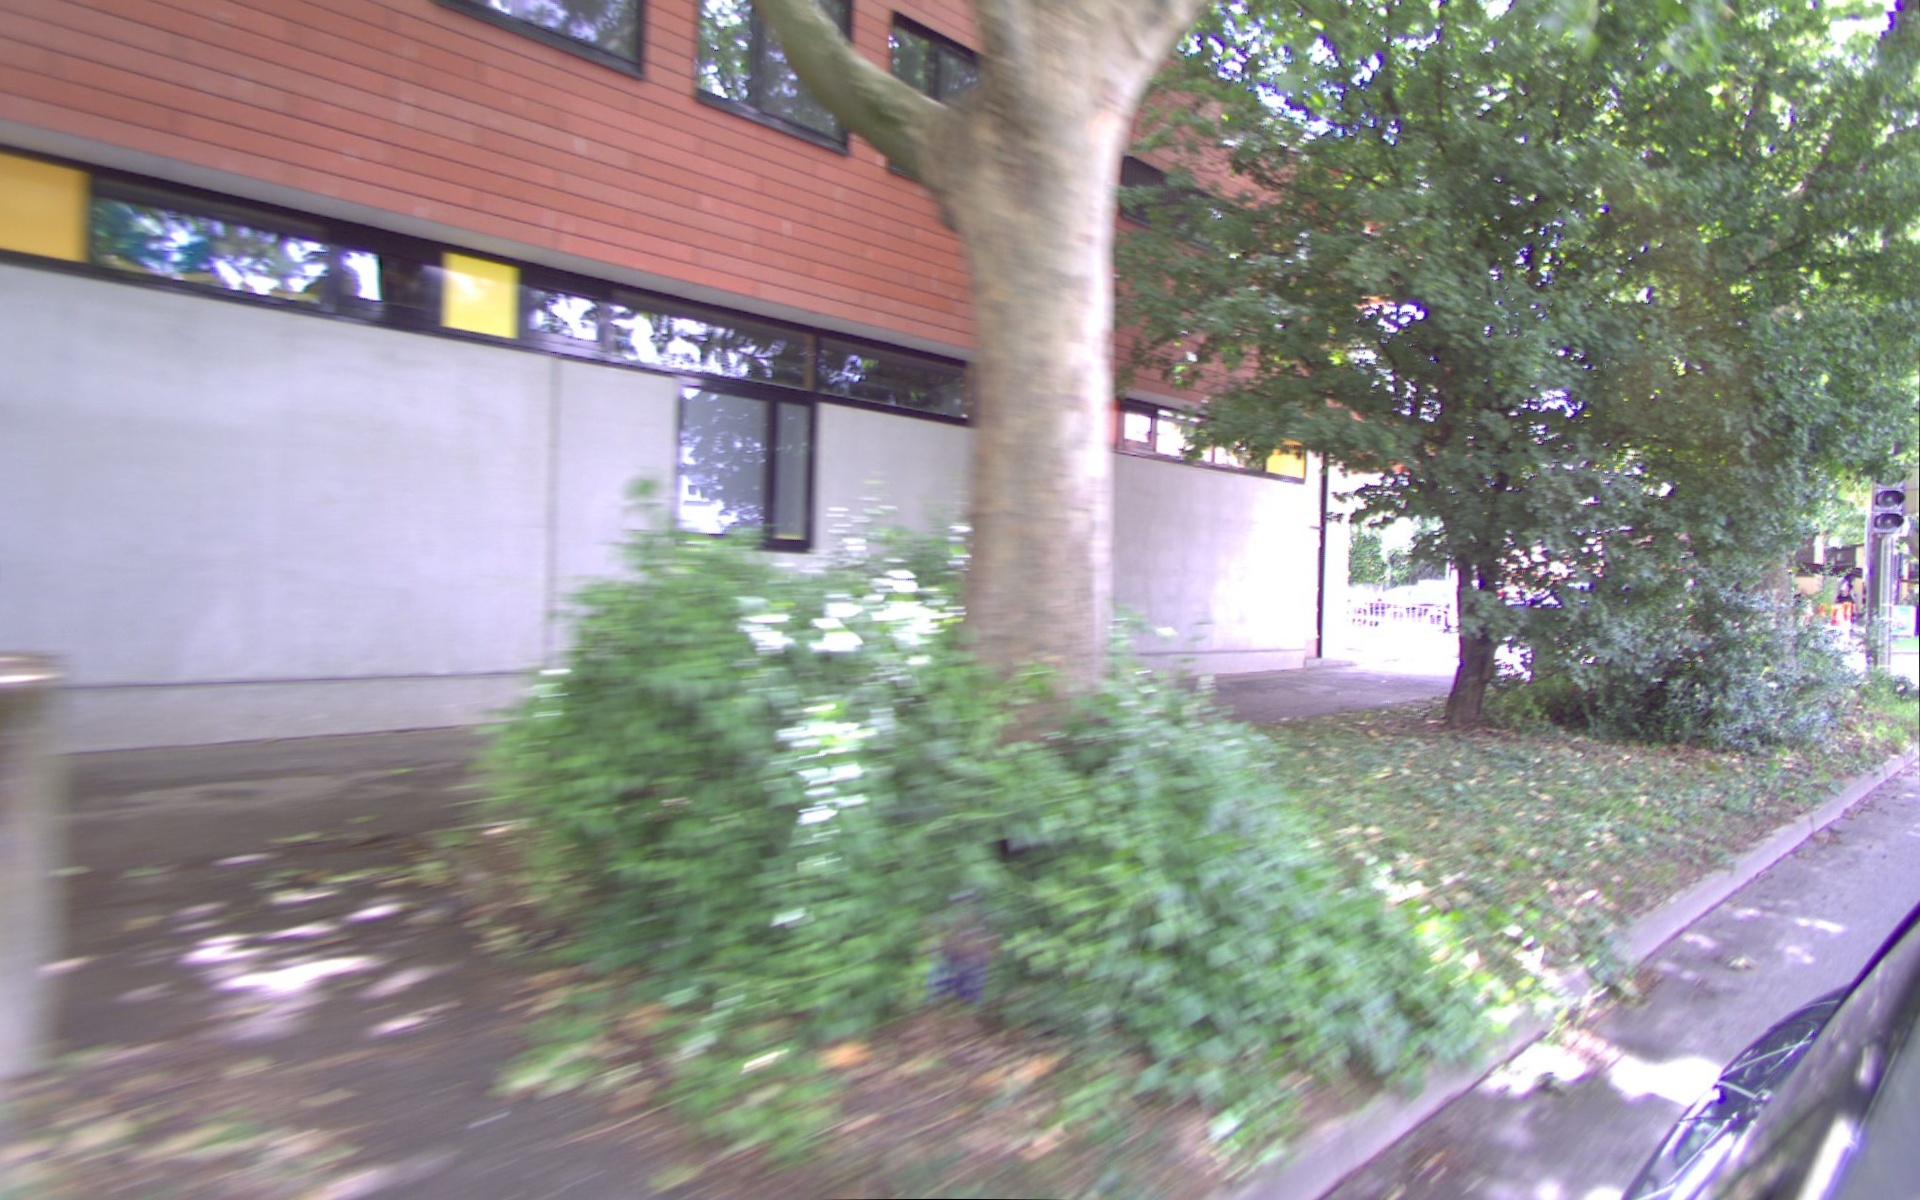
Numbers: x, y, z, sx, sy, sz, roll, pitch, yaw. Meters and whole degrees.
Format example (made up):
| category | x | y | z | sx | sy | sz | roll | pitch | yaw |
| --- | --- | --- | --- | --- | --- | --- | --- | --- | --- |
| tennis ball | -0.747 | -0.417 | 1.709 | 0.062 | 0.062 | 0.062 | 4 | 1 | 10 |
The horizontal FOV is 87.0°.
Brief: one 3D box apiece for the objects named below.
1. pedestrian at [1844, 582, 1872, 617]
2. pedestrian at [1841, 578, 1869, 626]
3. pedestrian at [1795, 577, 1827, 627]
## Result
| category | x | y | z | sx | sy | sz | roll | pitch | yaw |
| --- | --- | --- | --- | --- | --- | --- | --- | --- | --- |
| pedestrian | 47.869 | -0.045 | 53.947 | 0.595 | 1.823 | 0.925 | 1 | 2 | 4 |
| pedestrian | 32.055 | 0.070 | 36.240 | 0.758 | 1.697 | 0.625 | 0 | 1 | -40 |
| pedestrian | 31.037 | 0.063 | 36.905 | 0.648 | 1.746 | 0.760 | 0 | 2 | -44 |
